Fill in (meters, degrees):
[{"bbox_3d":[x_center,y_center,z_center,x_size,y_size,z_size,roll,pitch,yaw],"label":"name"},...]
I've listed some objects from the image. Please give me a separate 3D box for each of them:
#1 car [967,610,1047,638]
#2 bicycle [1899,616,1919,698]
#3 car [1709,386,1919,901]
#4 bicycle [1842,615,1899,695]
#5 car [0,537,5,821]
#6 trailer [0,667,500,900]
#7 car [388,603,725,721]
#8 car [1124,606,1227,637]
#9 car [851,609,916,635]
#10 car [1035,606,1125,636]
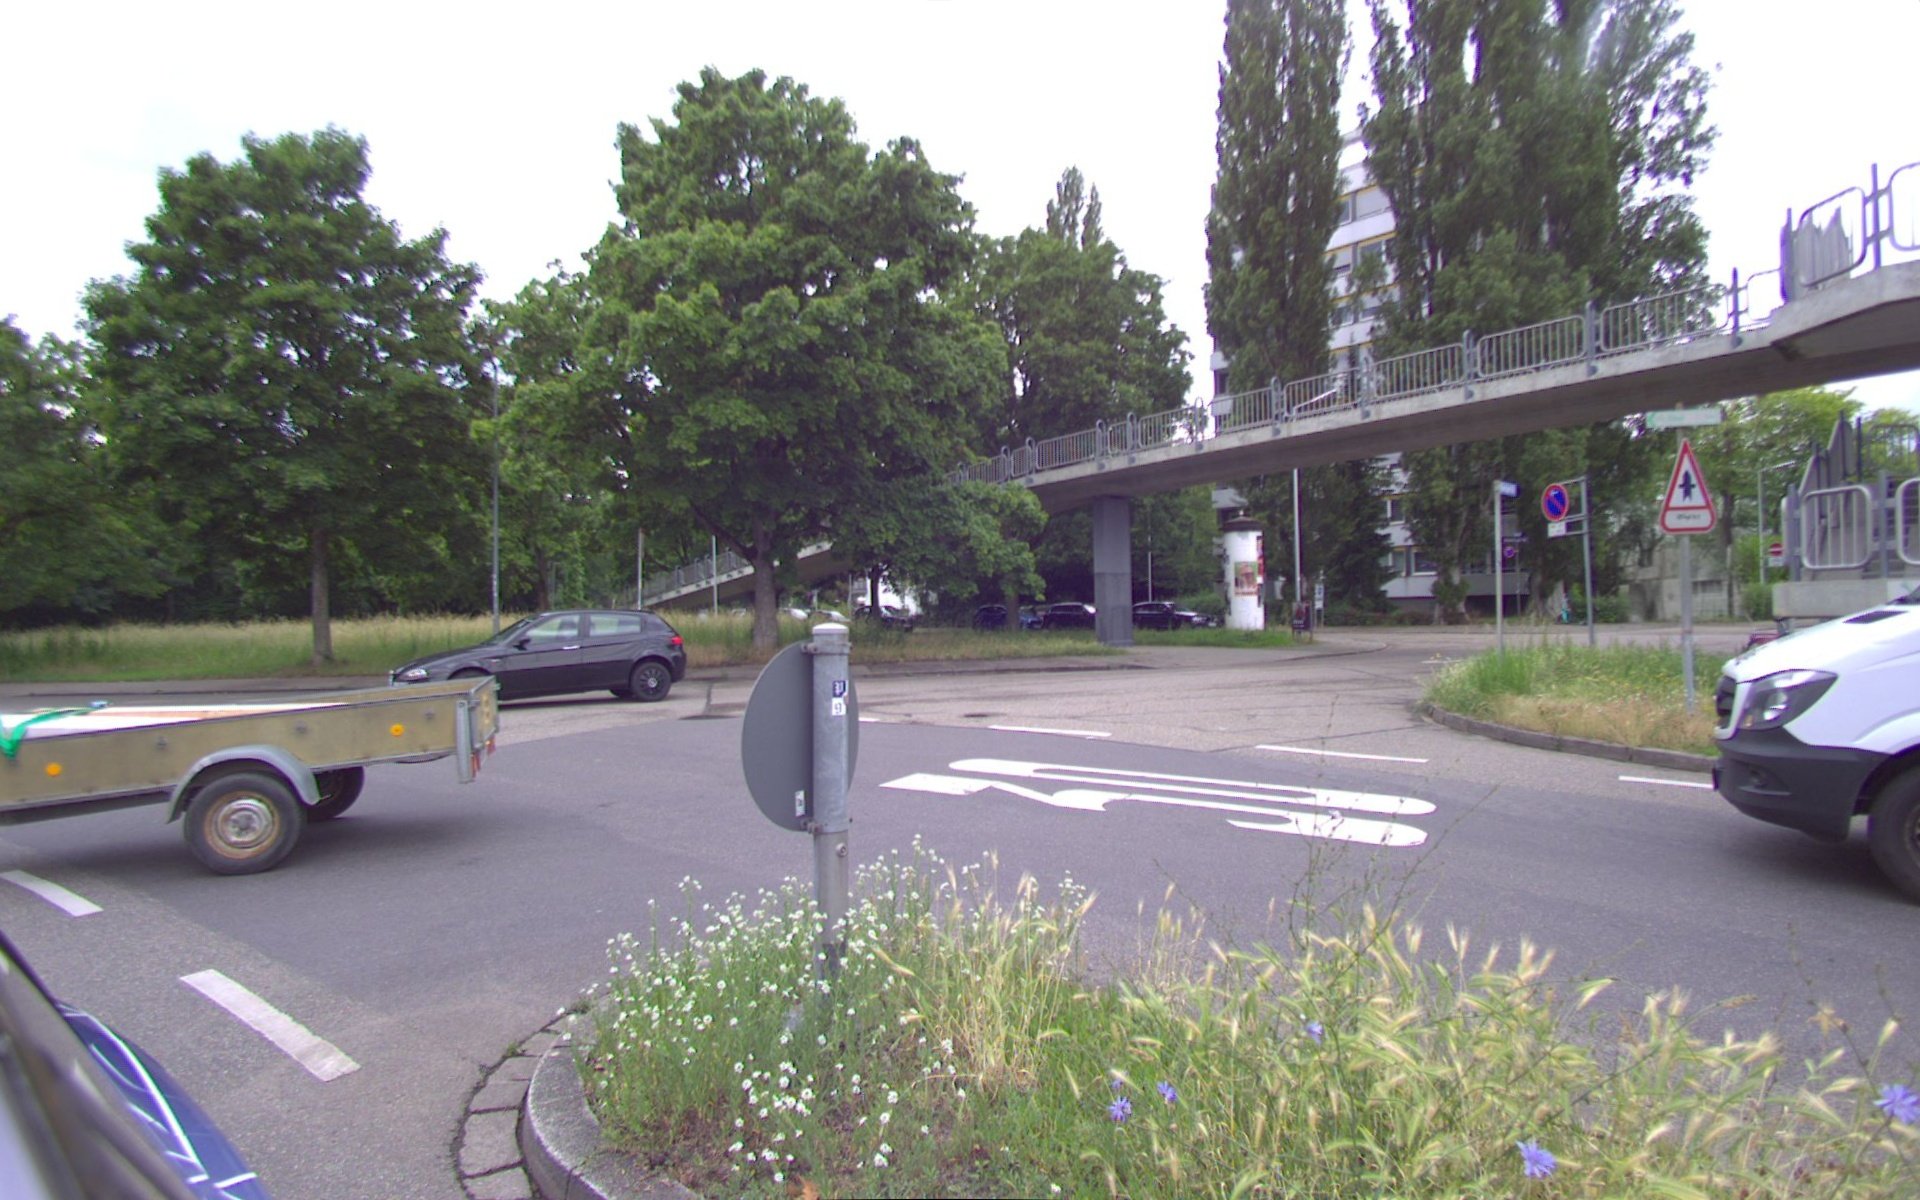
[{"bbox_3d":[2.279,1.180,49.887,1.667,1.247,4.007,-1,0,-39],"label":"car"},{"bbox_3d":[11.410,0.653,11.936,1.618,0.892,0.395,-1,-1,-44],"label":"bicycle"},{"bbox_3d":[6.401,0.150,4.144,5.204,2.310,2.112,-2,-1,40],"label":"car"},{"bbox_3d":[11.155,0.651,12.391,1.618,0.892,0.395,-1,-1,-44],"label":"bicycle"},{"bbox_3d":[-8.305,0.537,5.496,4.157,1.871,2.097,-1,-1,-5],"label":"car"},{"bbox_3d":[-4.627,0.997,5.967,3.405,0.993,1.577,0,0,-21],"label":"trailer"},{"bbox_3d":[-6.030,0.834,15.317,4.464,1.468,1.808,-1,0,-33],"label":"car"},{"bbox_3d":[8.879,0.887,41.942,1.667,1.214,4.007,-1,0,-39],"label":"car"},{"bbox_3d":[-4.389,1.251,57.459,1.667,1.361,4.007,-1,0,-39],"label":"car"},{"bbox_3d":[5.429,0.948,46.173,1.667,1.256,4.007,-1,0,-39],"label":"car"}]
